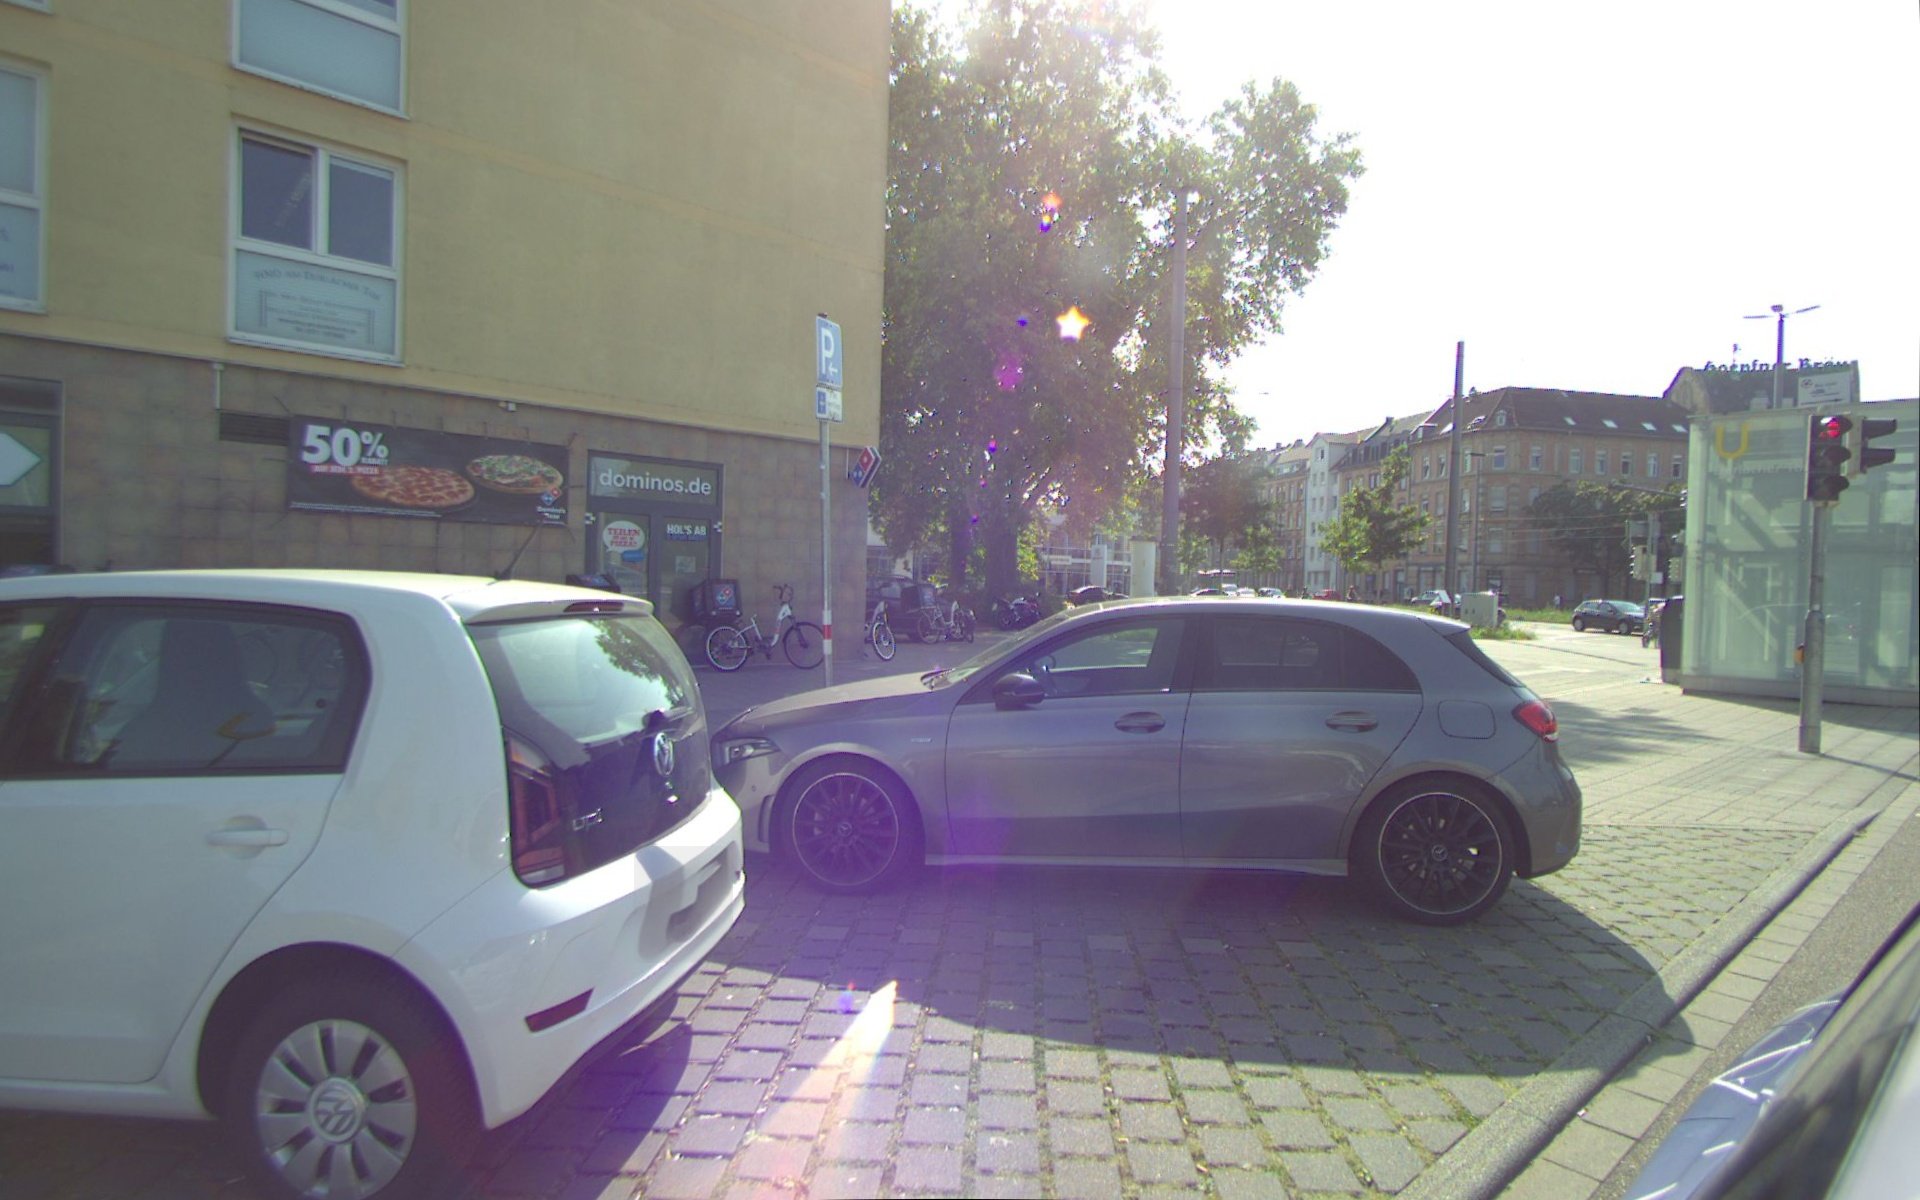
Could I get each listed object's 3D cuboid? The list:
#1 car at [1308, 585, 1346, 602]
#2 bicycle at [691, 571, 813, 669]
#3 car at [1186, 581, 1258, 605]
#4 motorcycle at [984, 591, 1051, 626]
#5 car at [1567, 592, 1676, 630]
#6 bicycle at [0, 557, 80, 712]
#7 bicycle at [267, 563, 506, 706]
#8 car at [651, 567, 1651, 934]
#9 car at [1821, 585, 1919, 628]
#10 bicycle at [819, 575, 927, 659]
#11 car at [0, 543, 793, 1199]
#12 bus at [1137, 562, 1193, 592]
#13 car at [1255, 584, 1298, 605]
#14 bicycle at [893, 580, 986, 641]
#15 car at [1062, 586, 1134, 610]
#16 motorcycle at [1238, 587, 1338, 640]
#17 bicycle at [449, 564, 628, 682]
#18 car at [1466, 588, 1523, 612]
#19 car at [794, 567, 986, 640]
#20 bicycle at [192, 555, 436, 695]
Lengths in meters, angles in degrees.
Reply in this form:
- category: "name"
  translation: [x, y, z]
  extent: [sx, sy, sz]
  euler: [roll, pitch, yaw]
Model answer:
- category: "car"
  translation: [35.415, -0.644, 97.714]
  extent: [1.642, 1.466, 3.788]
  euler: [2, 1, -11]
- category: "bicycle"
  translation: [-2.856, 0.265, 14.010]
  extent: [1.608, 1.277, 0.469]
  euler: [1, 1, -42]
- category: "car"
  translation: [17.703, -0.488, 68.515]
  extent: [4.317, 1.387, 1.999]
  euler: [2, 1, 2]
- category: "motorcycle"
  translation: [1.763, 0.271, 30.860]
  extent: [1.916, 1.014, 0.707]
  euler: [1, 1, -25]
- category: "car"
  translation: [29.066, 0.459, 44.636]
  extent: [1.766, 1.459, 3.912]
  euler: [2, 1, -10]
- category: "bicycle"
  translation: [-8.491, 0.270, 8.257]
  extent: [1.963, 1.277, 0.603]
  euler: [1, 1, -42]
- category: "bicycle"
  translation: [-5.623, 0.300, 10.033]
  extent: [0.602, 1.277, 1.968]
  euler: [2, 1, 40]
- category: "car"
  translation: [0.807, 0.594, 5.405]
  extent: [4.335, 1.441, 1.844]
  euler: [1, 1, 8]
- category: "car"
  translation: [45.424, 0.322, 49.747]
  extent: [1.757, 1.910, 4.300]
  euler: [3, 1, -21]
- category: "bicycle"
  translation: [-1.446, 0.247, 16.419]
  extent: [0.659, 1.221, 2.021]
  euler: [1, 2, -40]
- category: "car"
  translation: [-2.433, 0.587, 3.120]
  extent: [3.469, 1.482, 1.620]
  euler: [1, 1, 8]
- category: "bus"
  translation: [21.707, -2.490, 107.981]
  extent: [2.841, 3.021, 11.509]
  euler: [2, 1, -4]
- category: "car"
  translation: [24.978, -0.451, 79.944]
  extent: [1.766, 1.459, 3.638]
  euler: [2, 1, -10]
- category: "bicycle"
  translation: [-0.407, 0.219, 21.783]
  extent: [0.523, 1.250, 2.264]
  euler: [3, 1, 44]
- category: "car"
  translation: [9.229, -0.135, 67.831]
  extent: [4.305, 1.387, 2.005]
  euler: [1, 1, -16]
- category: "motorcycle"
  translation: [7.458, 0.312, 22.955]
  extent: [2.253, 1.161, 0.707]
  euler: [1, 1, -25]
- category: "bicycle"
  translation: [-4.887, 0.251, 11.825]
  extent: [1.817, 1.277, 0.603]
  euler: [1, 1, -42]
- category: "car"
  translation: [39.464, -0.042, 74.845]
  extent: [1.708, 1.601, 3.982]
  euler: [3, 1, -7]
- category: "car"
  translation: [-1.507, 0.067, 22.786]
  extent: [4.120, 1.459, 1.660]
  euler: [1, 2, -40]
- category: "bicycle"
  translation: [-6.438, 0.221, 10.188]
  extent: [0.602, 1.277, 1.968]
  euler: [2, 1, 40]
